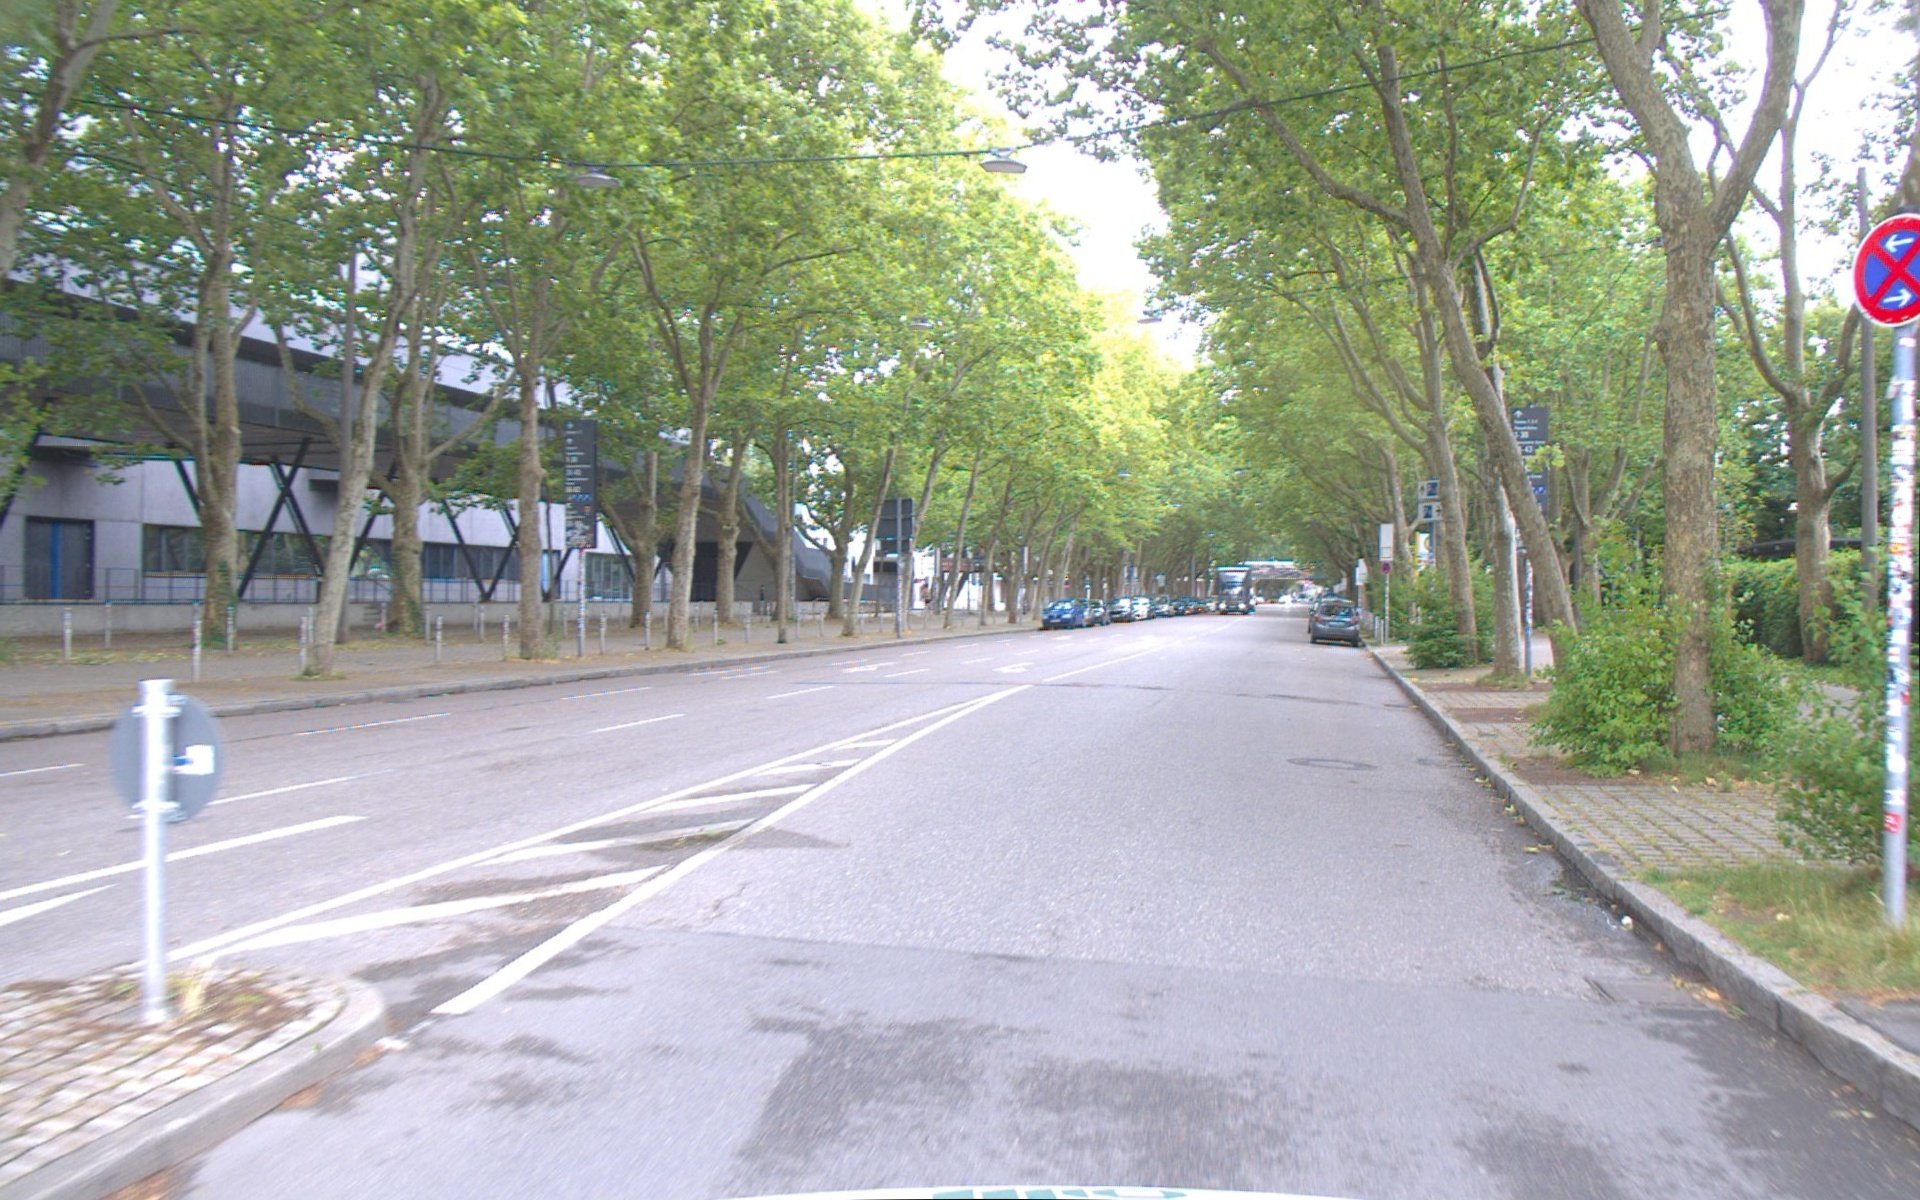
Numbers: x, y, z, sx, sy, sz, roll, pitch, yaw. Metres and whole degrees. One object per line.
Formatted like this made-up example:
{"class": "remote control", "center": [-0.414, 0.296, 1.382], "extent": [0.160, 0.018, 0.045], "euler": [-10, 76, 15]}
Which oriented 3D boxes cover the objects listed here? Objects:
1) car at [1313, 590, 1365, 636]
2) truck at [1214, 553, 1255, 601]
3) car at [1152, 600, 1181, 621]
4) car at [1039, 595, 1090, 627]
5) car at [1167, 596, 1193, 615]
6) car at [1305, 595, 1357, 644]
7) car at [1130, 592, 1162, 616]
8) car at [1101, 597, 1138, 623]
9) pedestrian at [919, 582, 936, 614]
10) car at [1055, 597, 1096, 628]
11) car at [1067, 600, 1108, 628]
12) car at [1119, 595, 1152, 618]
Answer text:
{"class": "car", "center": [14.857, 0.490, 64.970], "extent": [1.683, 1.594, 4.098], "euler": [4, 1, 10]}
{"class": "truck", "center": [23.509, -1.899, 141.146], "extent": [2.585, 3.970, 9.547], "euler": [-1, 0, 14]}
{"class": "car", "center": [15.698, 0.831, 125.615], "extent": [1.854, 1.463, 4.003], "euler": [-1, -2, 11]}
{"class": "car", "center": [5.084, 0.558, 80.088], "extent": [1.659, 1.443, 3.763], "euler": [-3, -1, 16]}
{"class": "car", "center": [18.293, 0.485, 137.504], "extent": [1.854, 1.463, 4.003], "euler": [-1, -2, 11]}
{"class": "car", "center": [13.389, 0.666, 59.794], "extent": [1.663, 1.545, 4.458], "euler": [4, 1, 12]}
{"class": "car", "center": [12.574, 0.276, 111.604], "extent": [1.854, 1.463, 4.003], "euler": [-1, -2, 11]}
{"class": "car", "center": [9.593, 0.619, 99.256], "extent": [1.728, 1.443, 3.764], "euler": [-2, -1, 12]}
{"class": "pedestrian", "center": [-1.912, -0.105, 98.234], "extent": [0.759, 1.867, 0.873], "euler": [1, 0, -22]}
{"class": "car", "center": [5.938, 0.658, 84.789], "extent": [1.728, 1.443, 3.764], "euler": [-2, -1, 9]}
{"class": "car", "center": [6.925, 0.768, 89.650], "extent": [1.728, 1.443, 3.764], "euler": [-2, -1, 12]}
{"class": "car", "center": [11.279, 0.441, 106.032], "extent": [1.695, 1.355, 4.003], "euler": [-1, -2, 12]}
